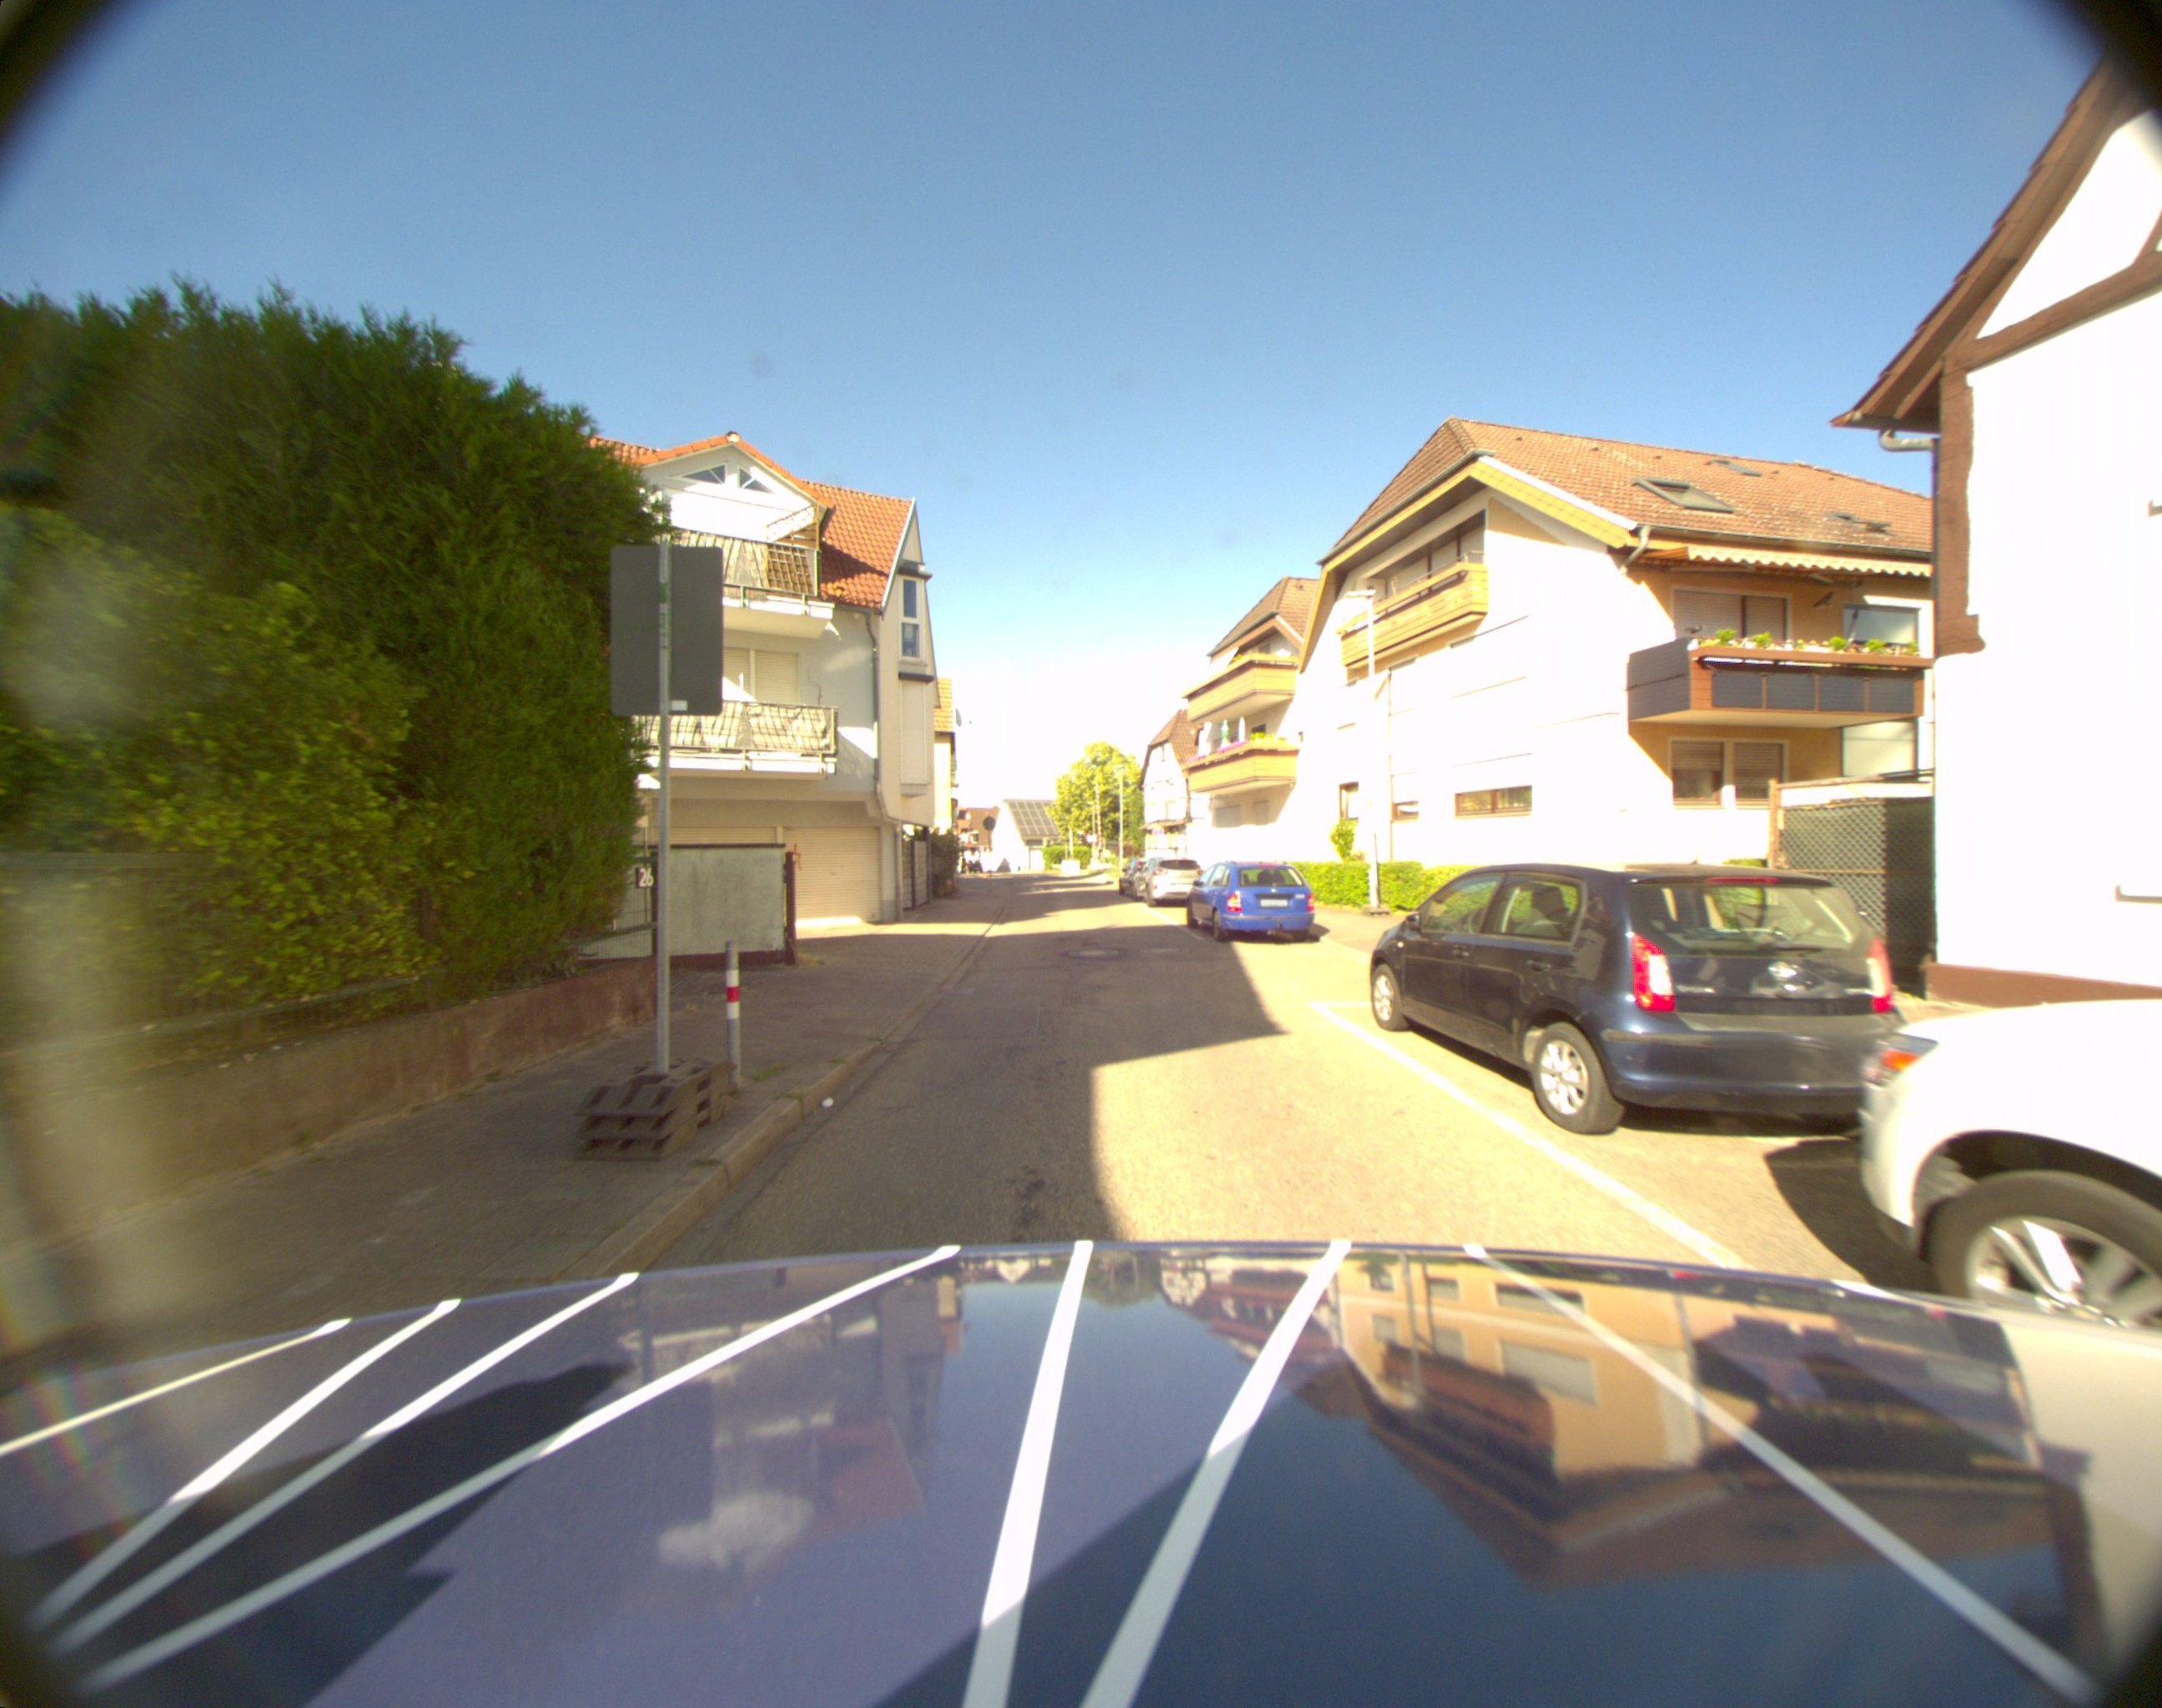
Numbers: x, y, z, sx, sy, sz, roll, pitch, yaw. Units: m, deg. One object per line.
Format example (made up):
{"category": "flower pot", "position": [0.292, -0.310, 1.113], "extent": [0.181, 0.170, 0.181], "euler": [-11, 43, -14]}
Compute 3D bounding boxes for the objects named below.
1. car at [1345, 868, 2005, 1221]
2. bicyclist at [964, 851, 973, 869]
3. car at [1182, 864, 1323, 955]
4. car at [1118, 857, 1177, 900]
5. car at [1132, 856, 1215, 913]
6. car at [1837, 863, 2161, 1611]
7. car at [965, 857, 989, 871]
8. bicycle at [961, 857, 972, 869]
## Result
{"category": "car", "position": [3.323, 0.892, 5.270], "extent": [1.660, 1.498, 3.683], "euler": [0, 0, -1]}
{"category": "bicyclist", "position": [-10.837, 0.585, 73.111], "extent": [0.645, 1.654, 0.604], "euler": [5, -2, -21]}
{"category": "car", "position": [3.068, 0.935, 14.407], "extent": [1.623, 1.431, 3.955], "euler": [0, 0, -2]}
{"category": "car", "position": [2.416, 0.865, 28.514], "extent": [1.628, 1.468, 3.614], "euler": [0, 0, -4]}
{"category": "car", "position": [2.716, 0.845, 23.195], "extent": [1.764, 1.547, 3.998], "euler": [0, 0, -4]}
{"category": "car", "position": [3.225, 0.841, 0.294], "extent": [1.727, 1.609, 4.111], "euler": [0, 0, -1]}
{"category": "car", "position": [-11.255, 1.053, 82.039], "extent": [1.549, 1.450, 3.708], "euler": [-1, 0, -24]}
{"category": "bicycle", "position": [-11.051, 0.836, 73.378], "extent": [0.641, 1.175, 2.018], "euler": [0, 0, -20]}
